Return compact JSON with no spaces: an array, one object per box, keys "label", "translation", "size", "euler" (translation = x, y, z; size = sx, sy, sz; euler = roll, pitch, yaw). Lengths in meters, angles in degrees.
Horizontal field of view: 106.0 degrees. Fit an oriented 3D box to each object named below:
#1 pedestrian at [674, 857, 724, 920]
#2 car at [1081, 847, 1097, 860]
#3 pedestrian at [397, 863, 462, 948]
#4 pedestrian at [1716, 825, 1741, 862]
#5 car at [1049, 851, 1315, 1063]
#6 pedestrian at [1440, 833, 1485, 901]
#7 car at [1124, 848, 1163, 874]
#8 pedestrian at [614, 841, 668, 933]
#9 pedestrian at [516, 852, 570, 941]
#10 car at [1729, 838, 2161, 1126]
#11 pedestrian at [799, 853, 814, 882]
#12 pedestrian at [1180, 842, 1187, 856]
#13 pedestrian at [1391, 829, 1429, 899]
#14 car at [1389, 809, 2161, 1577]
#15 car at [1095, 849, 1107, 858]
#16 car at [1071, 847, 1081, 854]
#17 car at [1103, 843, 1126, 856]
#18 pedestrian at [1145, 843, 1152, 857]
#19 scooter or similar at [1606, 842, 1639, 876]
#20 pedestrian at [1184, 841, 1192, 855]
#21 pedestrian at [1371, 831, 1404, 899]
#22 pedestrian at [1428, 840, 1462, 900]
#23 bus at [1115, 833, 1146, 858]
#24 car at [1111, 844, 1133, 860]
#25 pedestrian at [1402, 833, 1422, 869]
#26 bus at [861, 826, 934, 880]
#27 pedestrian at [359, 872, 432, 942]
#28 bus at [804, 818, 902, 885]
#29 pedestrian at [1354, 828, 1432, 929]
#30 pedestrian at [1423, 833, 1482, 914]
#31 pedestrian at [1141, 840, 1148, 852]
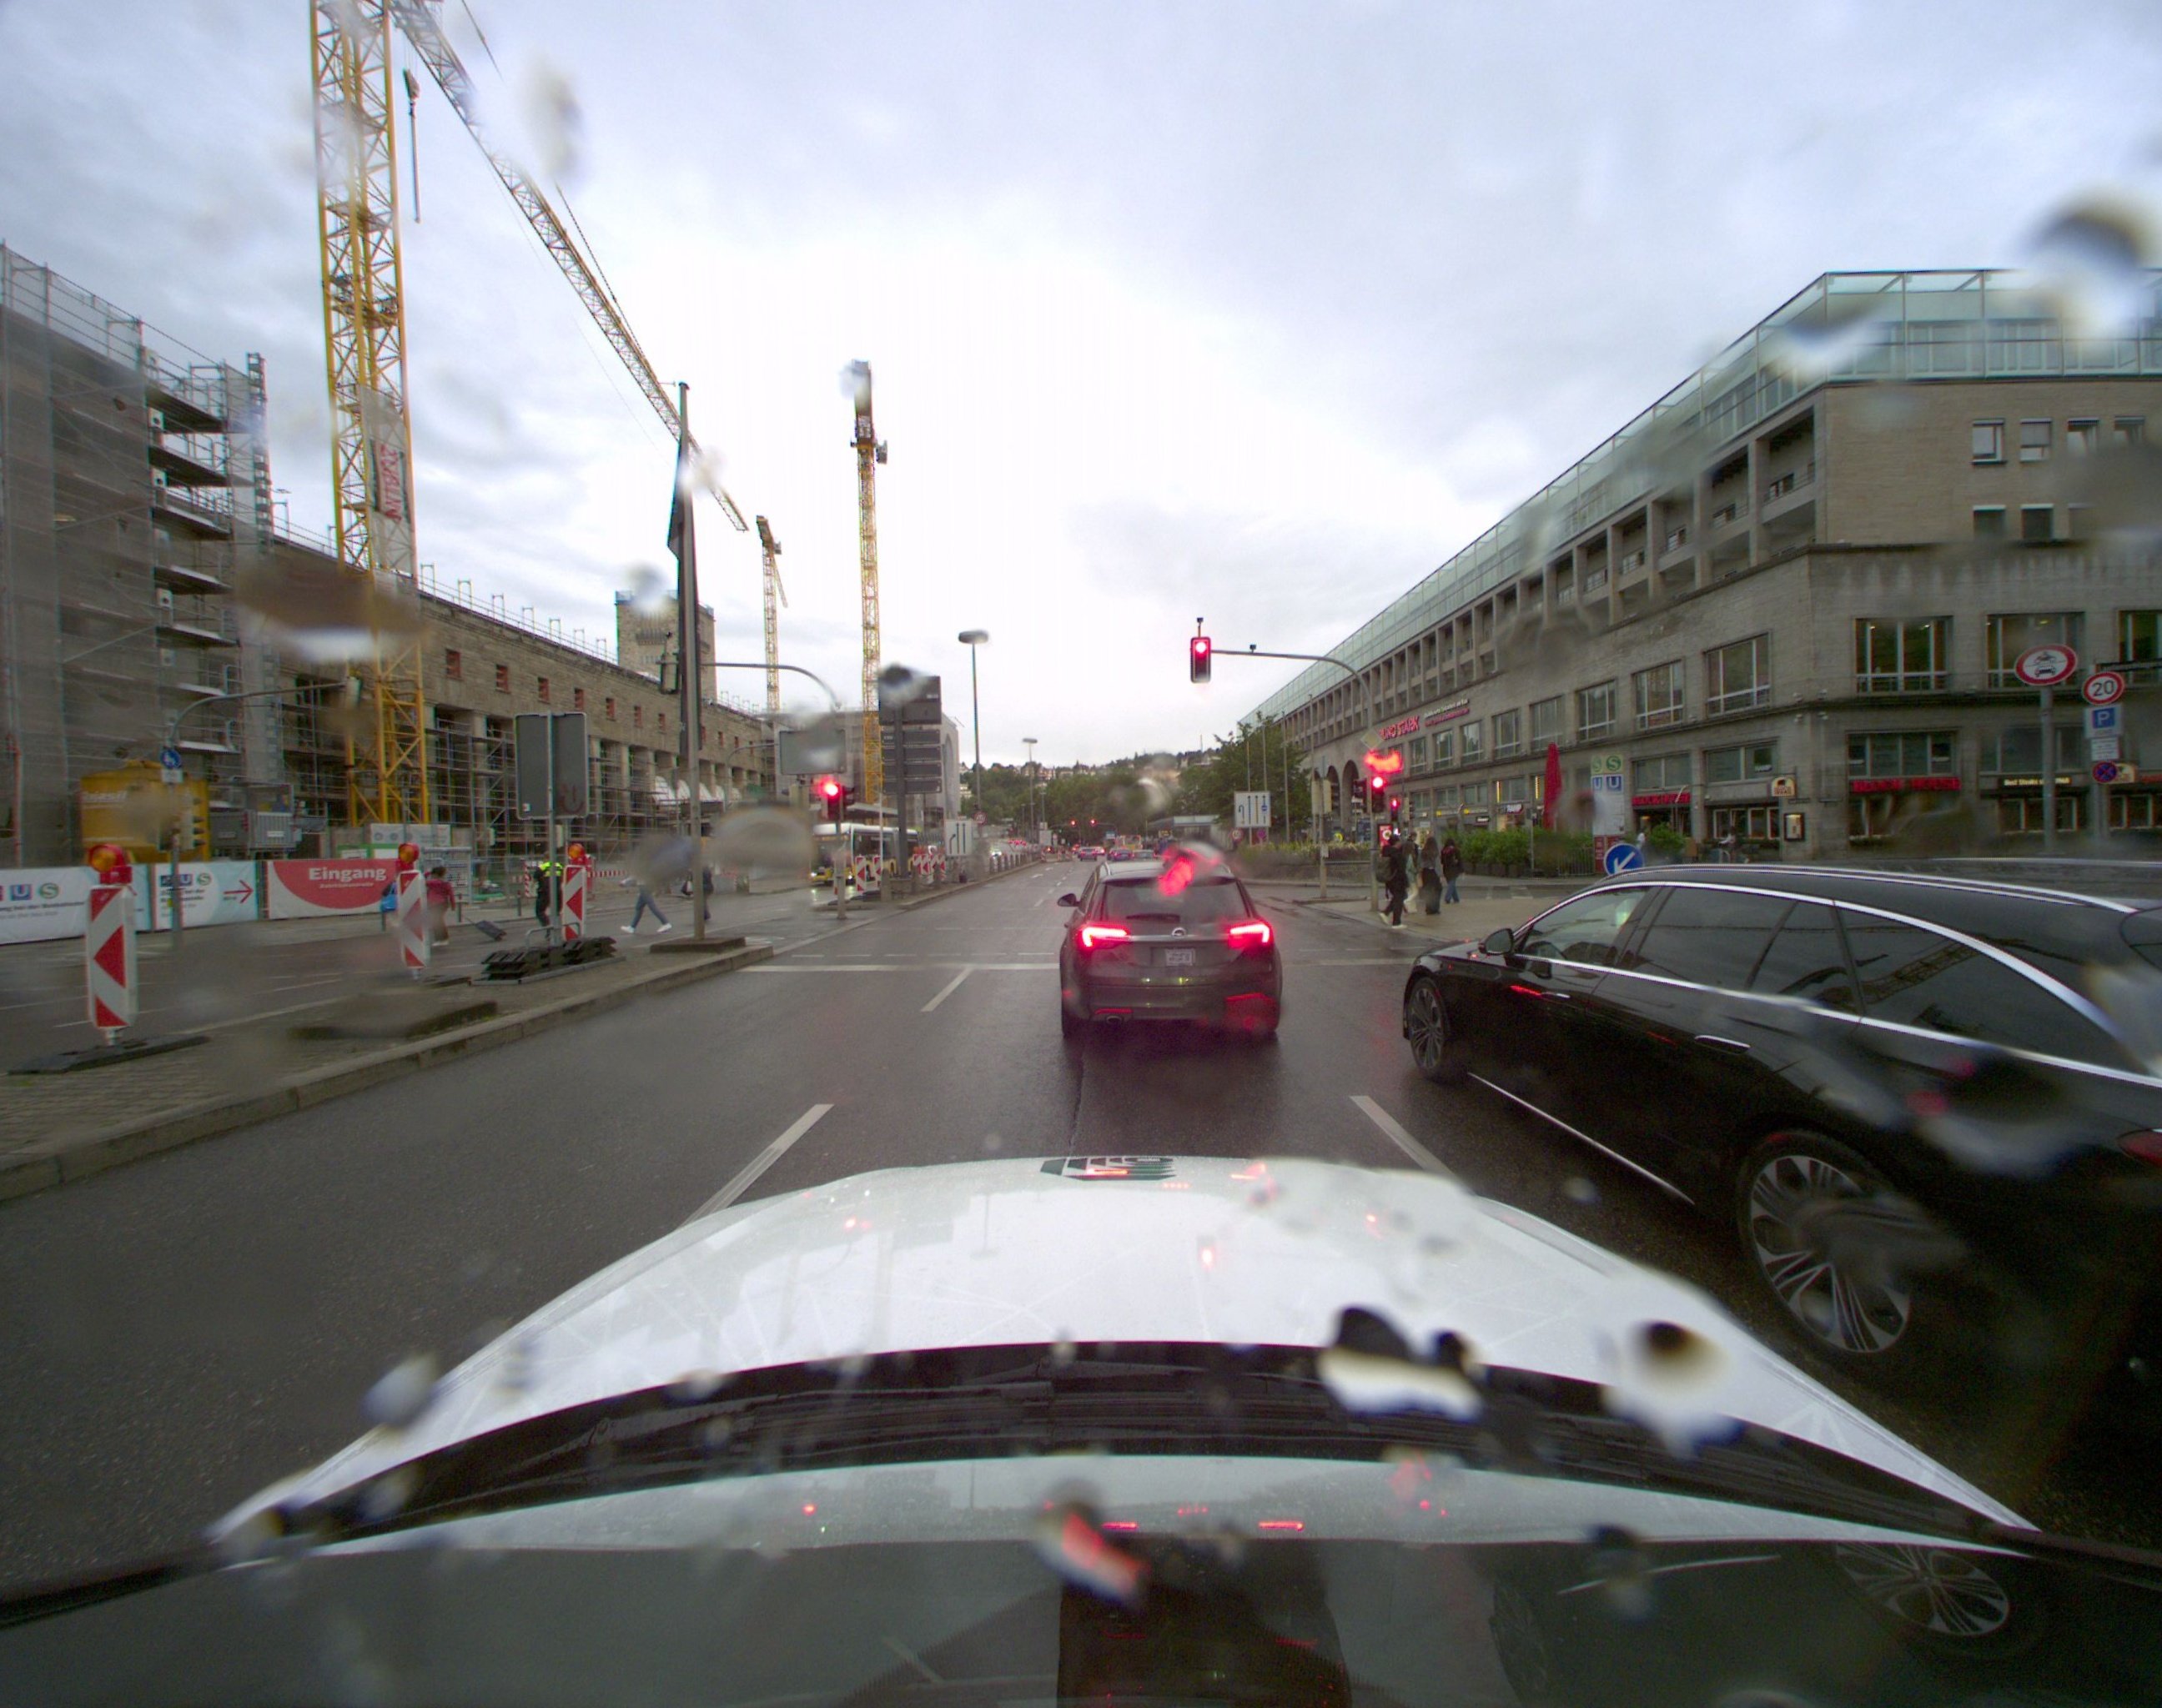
[{"label":"pedestrian","translation":[-9.693,0.871,20.680],"size":[0.869,1.561,0.787],"euler":[0,-1,2]},{"label":"car","translation":[0.905,-0.072,89.752],"size":[1.747,1.398,4.538],"euler":[0,0,0]},{"label":"pedestrian","translation":[-13.698,1.066,17.138],"size":[0.797,1.717,0.619],"euler":[-3,0,-2]},{"label":"pedestrian","translation":[26.843,-0.437,33.747],"size":[0.750,1.512,0.721],"euler":[-1,-1,43]},{"label":"car","translation":[0.760,0.737,7.750],"size":[1.868,1.486,4.001],"euler":[0,0,1]},{"label":"pedestrian","translation":[9.195,0.318,19.650],"size":[0.797,1.608,0.619],"euler":[0,-1,-2]},{"label":"car","translation":[3.505,0.378,46.367],"size":[1.841,1.398,3.663],"euler":[0,0,-2]},{"label":"pedestrian","translation":[-9.177,0.672,17.002],"size":[0.798,1.890,0.618],"euler":[0,-1,-7]},{"label":"pedestrian","translation":[-11.359,0.870,17.217],"size":[0.576,1.836,0.820],"euler":[0,-1,2]},{"label":"car","translation":[6.519,0.658,4.805],"size":[1.868,1.486,4.527],"euler":[0,0,1]},{"label":"pedestrian","translation":[-16.084,0.814,47.774],"size":[0.657,1.680,0.644],"euler":[0,-1,2]},{"label":"pedestrian","translation":[11.999,-0.581,95.279],"size":[0.761,1.690,0.824],"euler":[0,-1,-3]},{"label":"pedestrian","translation":[8.289,0.247,20.509],"size":[0.753,1.717,0.466],"euler":[0,-1,-2]},{"label":"car","translation":[3.066,0.667,3.599],"size":[1.787,1.501,4.630],"euler":[0,0,2]},{"label":"car","translation":[3.311,-0.127,133.844],"size":[1.839,1.398,3.565],"euler":[0,0,2]},{"label":"car","translation":[-0.934,-0.652,150.204],"size":[1.752,1.398,3.565],"euler":[0,0,2]},{"label":"car","translation":[3.722,-0.492,92.344],"size":[1.753,1.398,4.388],"euler":[0,0,-9]},{"label":"pedestrian","translation":[11.478,-0.639,137.900],"size":[1.194,2.435,1.229],"euler":[0,-1,3]},{"label":"scooter or similar","translation":[19.372,0.189,29.134],"size":[0.290,1.189,1.014],"euler":[0,-1,-17]},{"label":"pedestrian","translation":[12.389,-0.695,93.992],"size":[0.761,1.690,0.824],"euler":[0,-1,-3]},{"label":"pedestrian","translation":[8.001,0.279,21.264],"size":[0.563,1.752,0.684],"euler":[-1,-1,44]},{"label":"pedestrian","translation":[9.005,0.392,20.150],"size":[0.677,1.474,0.366],"euler":[0,-1,-3]},{"label":"bus","translation":[7.215,-1.128,120.951],"size":[4.158,3.469,14.660],"euler":[0,0,2]},{"label":"car","translation":[3.726,-0.142,74.607],"size":[1.748,1.398,4.647],"euler":[0,0,-1]},{"label":"pedestrian","translation":[18.622,-0.149,45.816],"size":[0.756,2.014,0.830],"euler":[-1,-1,43]},{"label":"bus","translation":[-13.064,-0.050,59.032],"size":[2.658,3.602,10.215],"euler":[0,0,2]},{"label":"pedestrian","translation":[-15.845,1.212,18.847],"size":[0.912,1.563,0.899],"euler":[0,-1,-2]},{"label":"bus","translation":[-13.384,-0.099,48.847],"size":[2.658,3.602,10.243],"euler":[0,0,2]},{"label":"pedestrian","translation":[5.754,0.444,15.065],"size":[1.093,1.751,0.653],"euler":[-3,-1,-1]},{"label":"pedestrian","translation":[7.596,0.390,16.683],"size":[0.791,1.626,0.899],"euler":[0,-1,-2]},{"label":"pedestrian","translation":[11.776,-1.432,151.655],"size":[1.194,2.149,1.229],"euler":[0,-1,3]}]
